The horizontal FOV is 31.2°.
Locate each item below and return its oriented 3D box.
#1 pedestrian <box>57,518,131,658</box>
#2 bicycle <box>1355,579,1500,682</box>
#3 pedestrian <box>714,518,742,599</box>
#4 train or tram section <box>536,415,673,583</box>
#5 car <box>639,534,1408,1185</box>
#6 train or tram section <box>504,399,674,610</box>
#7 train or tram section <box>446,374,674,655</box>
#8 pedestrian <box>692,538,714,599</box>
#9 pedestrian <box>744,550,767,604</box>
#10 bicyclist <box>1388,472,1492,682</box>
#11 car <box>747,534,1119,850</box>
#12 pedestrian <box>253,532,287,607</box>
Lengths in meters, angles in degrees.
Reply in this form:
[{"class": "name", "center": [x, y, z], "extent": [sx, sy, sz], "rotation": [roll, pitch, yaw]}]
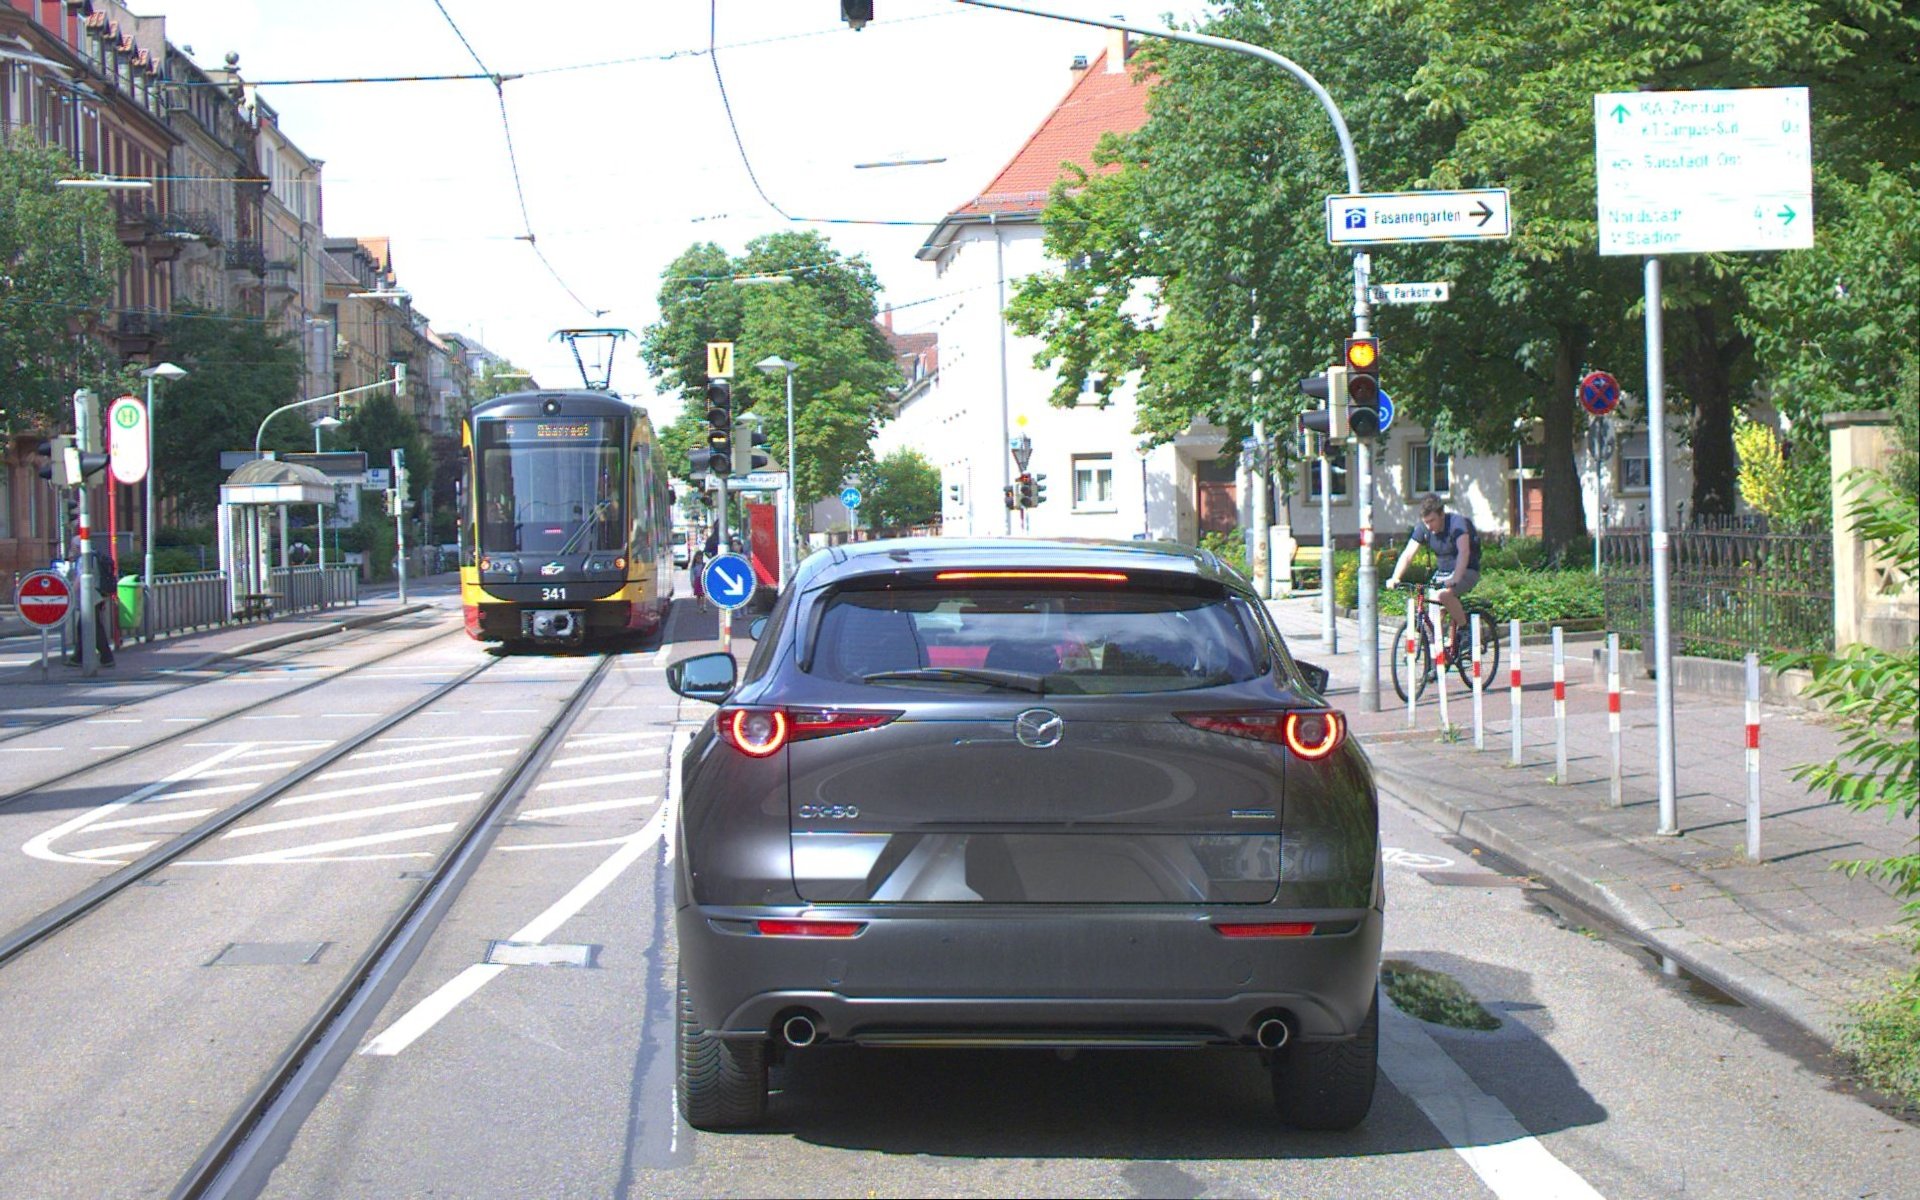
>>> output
[{"class": "pedestrian", "center": [-10.707, -0.153, 42.521], "extent": [0.717, 1.699, 0.824], "rotation": [-1, 1, -4]}, {"class": "bicycle", "center": [4.029, 0.249, 29.548], "extent": [0.494, 0.821, 1.695], "rotation": [0, 1, 36]}, {"class": "pedestrian", "center": [-4.176, -0.747, 61.904], "extent": [0.450, 1.429, 0.474], "rotation": [-1, 1, -5]}, {"class": "train or tram section", "center": [-8.044, -2.378, 79.251], "extent": [2.752, 3.478, 14.411], "rotation": [-1, 2, -5]}, {"class": "car", "center": [0.112, 0.571, 10.046], "extent": [1.778, 1.494, 4.000], "rotation": [1, 1, -1]}, {"class": "train or tram section", "center": [-6.821, -1.859, 64.897], "extent": [2.752, 3.478, 14.411], "rotation": [-1, 2, -5]}, {"class": "train or tram section", "center": [-5.636, -1.340, 50.556], "extent": [2.752, 3.478, 14.411], "rotation": [-1, 2, -5]}, {"class": "pedestrian", "center": [-4.612, -0.567, 61.706], "extent": [0.379, 1.067, 0.474], "rotation": [-1, 1, -4]}, {"class": "pedestrian", "center": [-3.714, -0.418, 62.294], "extent": [0.379, 0.981, 0.474], "rotation": [-1, 1, -5]}, {"class": "bicyclist", "center": [4.152, -0.205, 29.707], "extent": [0.657, 1.786, 0.609], "rotation": [0, 1, 35]}, {"class": "car", "center": [-0.167, 0.410, 18.651], "extent": [1.778, 1.494, 4.000], "rotation": [1, 1, -1]}, {"class": "pedestrian", "center": [-12.951, -0.565, 64.513], "extent": [0.429, 1.394, 0.398], "rotation": [-1, 1, 30]}]
